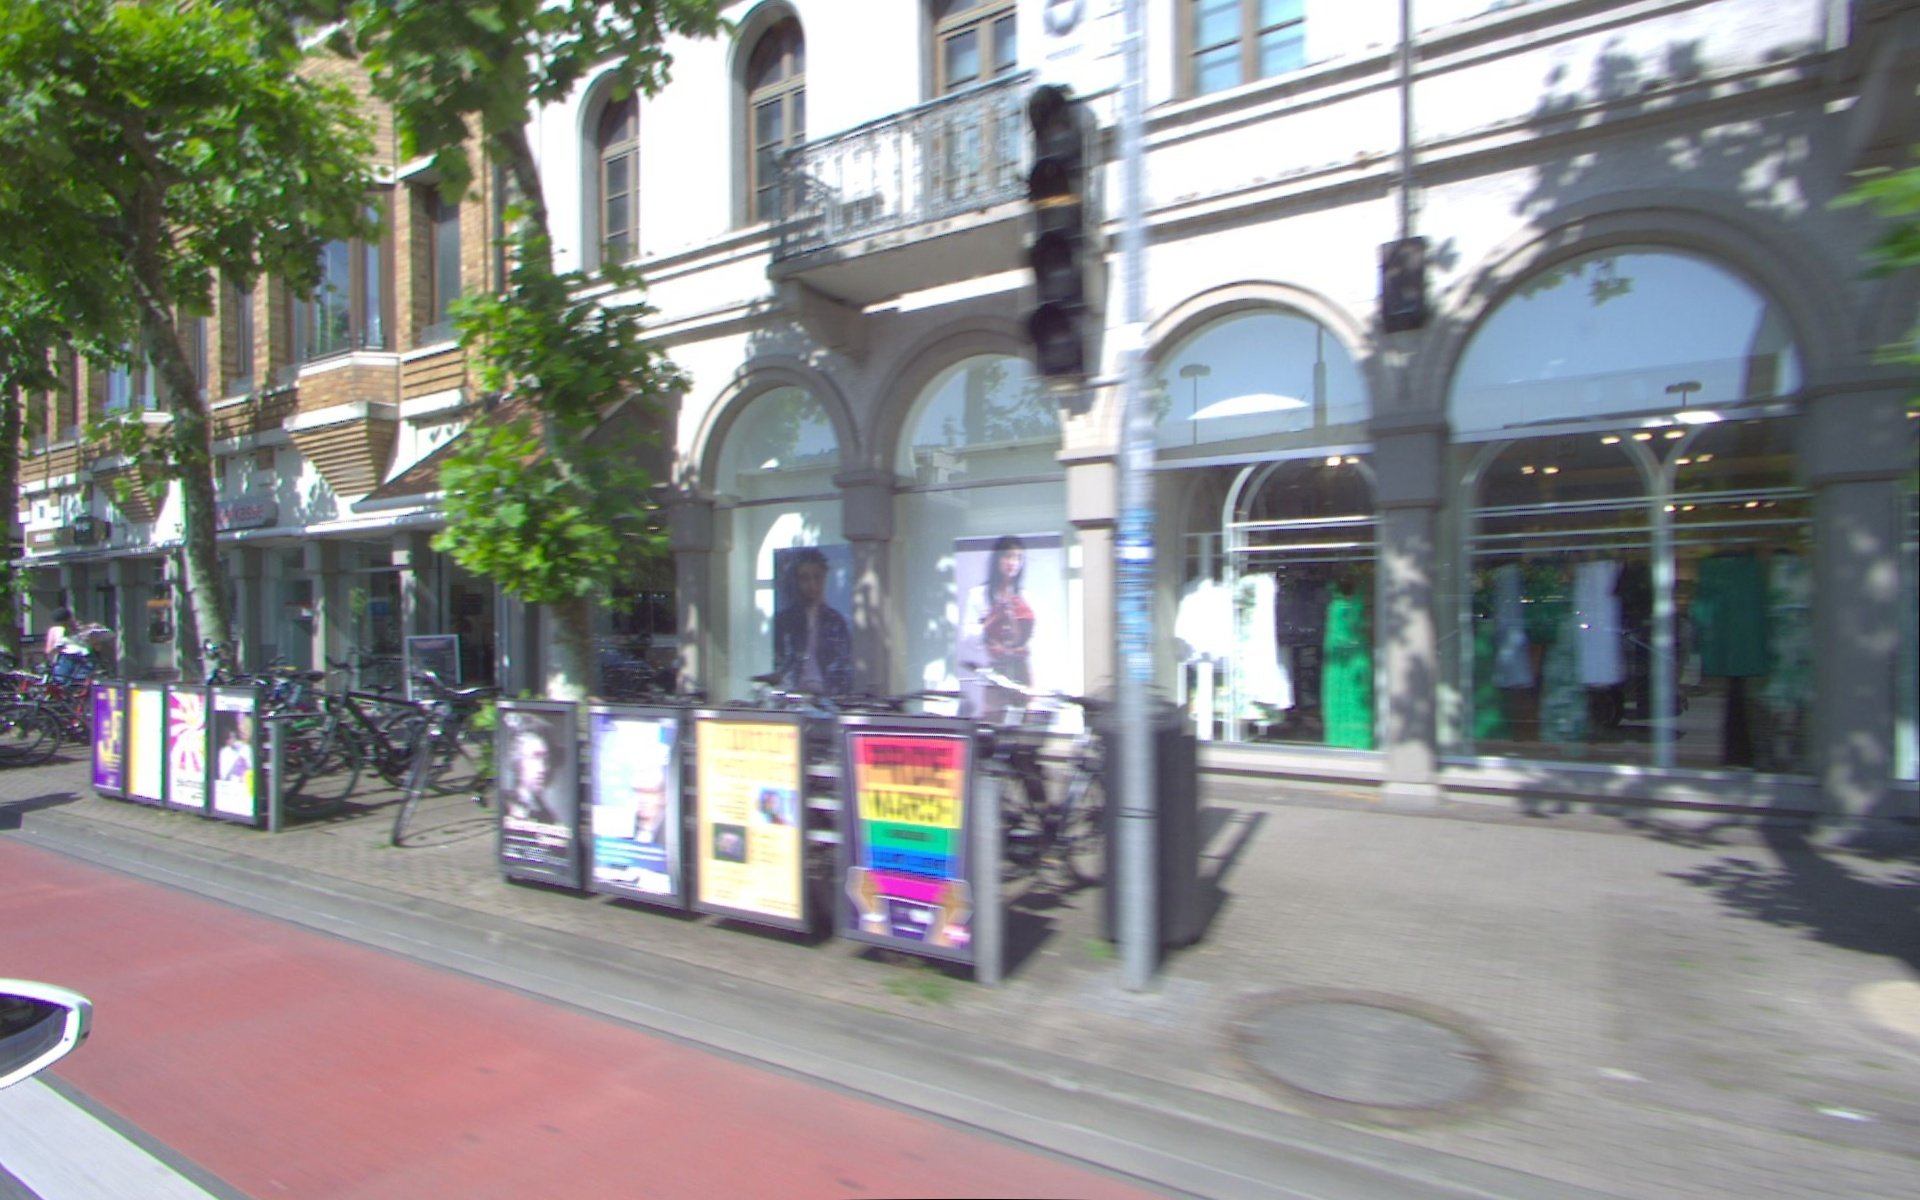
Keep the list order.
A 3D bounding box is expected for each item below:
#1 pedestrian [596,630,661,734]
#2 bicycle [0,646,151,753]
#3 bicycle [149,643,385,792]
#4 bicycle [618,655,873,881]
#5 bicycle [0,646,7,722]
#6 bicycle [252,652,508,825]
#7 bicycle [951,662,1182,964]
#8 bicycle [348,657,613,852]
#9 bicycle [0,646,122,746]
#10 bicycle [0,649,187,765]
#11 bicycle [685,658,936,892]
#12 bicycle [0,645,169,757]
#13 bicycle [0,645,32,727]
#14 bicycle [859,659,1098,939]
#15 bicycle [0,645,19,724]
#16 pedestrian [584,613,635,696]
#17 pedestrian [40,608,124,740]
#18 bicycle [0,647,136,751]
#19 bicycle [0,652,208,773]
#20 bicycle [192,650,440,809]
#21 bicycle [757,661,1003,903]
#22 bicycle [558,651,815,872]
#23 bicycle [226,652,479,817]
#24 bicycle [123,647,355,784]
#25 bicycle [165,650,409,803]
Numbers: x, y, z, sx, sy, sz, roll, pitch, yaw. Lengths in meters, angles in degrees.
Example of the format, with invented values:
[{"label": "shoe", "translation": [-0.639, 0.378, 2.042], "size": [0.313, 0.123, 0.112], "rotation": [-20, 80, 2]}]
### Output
[{"label": "pedestrian", "translation": [-4.161, 1.026, 12.610], "size": [0.715, 1.267, 0.591], "rotation": [1, -2, -14]}, {"label": "bicycle", "translation": [-10.603, 1.133, 11.695], "size": [0.475, 1.162, 1.751], "rotation": [-1, -1, 30]}, {"label": "bicycle", "translation": [-6.269, 1.009, 9.173], "size": [0.475, 1.202, 1.751], "rotation": [-1, -1, 30]}, {"label": "bicycle", "translation": [-1.226, 0.924, 6.098], "size": [0.475, 1.119, 1.751], "rotation": [-1, -1, 30]}, {"label": "bicycle", "translation": [-15.147, 1.262, 14.598], "size": [0.475, 1.162, 1.751], "rotation": [-1, -1, 30]}, {"label": "bicycle", "translation": [-4.474, 1.009, 7.866], "size": [0.475, 1.162, 1.751], "rotation": [-1, -1, 30]}, {"label": "bicycle", "translation": [0.601, 0.921, 4.954], "size": [0.475, 1.162, 1.751], "rotation": [-1, -1, 30]}, {"label": "bicycle", "translation": [-3.329, 1.013, 7.130], "size": [0.475, 1.162, 1.751], "rotation": [-1, -1, 30]}, {"label": "bicycle", "translation": [-11.429, 1.159, 12.254], "size": [0.475, 1.162, 1.751], "rotation": [-1, -1, 30]}, {"label": "bicycle", "translation": [-9.762, 1.151, 11.178], "size": [0.475, 1.162, 1.751], "rotation": [-1, -1, 30]}, {"label": "bicycle", "translation": [-0.795, 0.922, 5.854], "size": [0.475, 1.101, 1.751], "rotation": [-1, -1, 30]}, {"label": "bicycle", "translation": [-10.182, 1.118, 11.439], "size": [0.475, 1.162, 1.751], "rotation": [-1, -1, 30]}, {"label": "bicycle", "translation": [-14.281, 1.236, 14.078], "size": [0.475, 1.162, 1.751], "rotation": [-1, -1, 30]}, {"label": "bicycle", "translation": [0.174, 0.917, 5.243], "size": [0.475, 1.162, 1.751], "rotation": [-1, -1, 30]}, {"label": "bicycle", "translation": [-14.720, 1.244, 14.348], "size": [0.475, 1.162, 1.751], "rotation": [-1, -1, 30]}, {"label": "pedestrian", "translation": [-6.351, 0.990, 18.155], "size": [0.636, 1.473, 0.597], "rotation": [-1, -2, 35]}, {"label": "pedestrian", "translation": [-11.507, 0.956, 13.127], "size": [0.721, 1.654, 0.650], "rotation": [-1, -2, 36]}, {"label": "bicycle", "translation": [-11.016, 1.168, 11.969], "size": [0.475, 1.162, 1.751], "rotation": [-1, -1, 30]}, {"label": "bicycle", "translation": [-9.296, 1.165, 10.880], "size": [0.492, 1.162, 1.751], "rotation": [-1, -1, 30]}, {"label": "bicycle", "translation": [-5.358, 1.025, 8.460], "size": [0.475, 1.162, 1.751], "rotation": [-1, -1, 30]}, {"label": "bicycle", "translation": [-0.368, 0.911, 5.606], "size": [0.475, 1.082, 1.751], "rotation": [-1, -1, 30]}, {"label": "bicycle", "translation": [-1.654, 0.927, 6.353], "size": [0.475, 1.162, 1.751], "rotation": [-1, -1, 30]}, {"label": "bicycle", "translation": [-4.899, 1.028, 8.204], "size": [0.519, 1.162, 1.751], "rotation": [-1, -1, 30]}, {"label": "bicycle", "translation": [-6.752, 1.034, 9.484], "size": [0.475, 1.138, 1.751], "rotation": [-1, -1, 30]}, {"label": "bicycle", "translation": [-5.822, 1.042, 8.781], "size": [0.475, 1.162, 1.751], "rotation": [-1, -1, 30]}]
